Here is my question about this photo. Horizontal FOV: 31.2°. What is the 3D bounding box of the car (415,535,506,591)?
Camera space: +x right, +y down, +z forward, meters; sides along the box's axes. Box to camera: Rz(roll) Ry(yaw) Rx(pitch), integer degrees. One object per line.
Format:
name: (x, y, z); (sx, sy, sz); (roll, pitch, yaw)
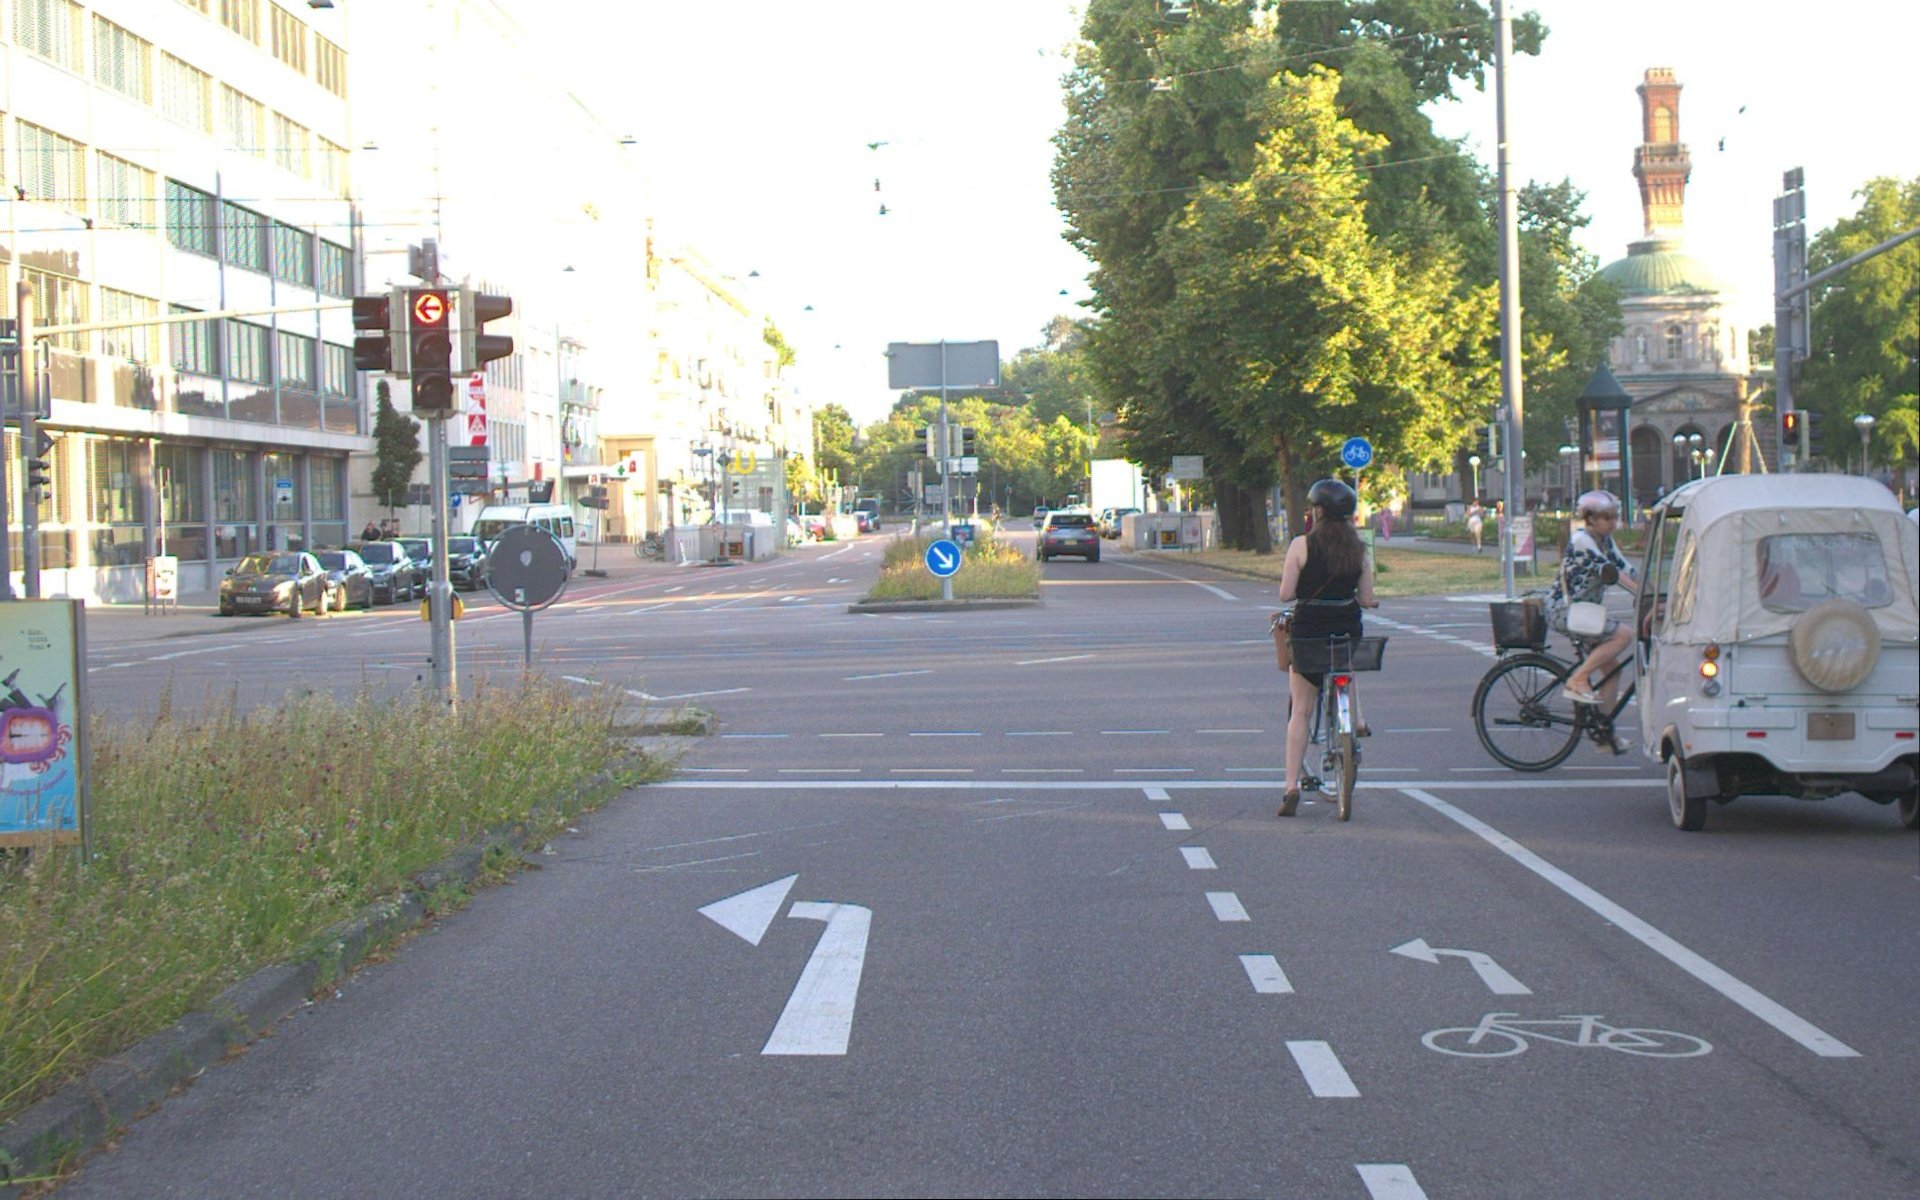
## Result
car: (-14.596, -1.069, 100.578); (1.796, 1.470, 3.999); (-2, -1, 4)

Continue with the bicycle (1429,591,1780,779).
bicycle: (3.938, 0.501, 20.999); (2.017, 1.065, 0.730); (1, 1, 18)

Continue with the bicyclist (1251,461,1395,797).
bicyclist: (1.874, 0.142, 17.797); (0.628, 1.687, 0.748); (-1, 1, 0)

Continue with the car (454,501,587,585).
car: (-13.644, -1.744, 107.145); (2.178, 2.377, 5.986); (-2, -1, 12)

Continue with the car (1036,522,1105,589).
car: (3.461, -1.432, 108.150); (1.993, 2.007, 4.000); (-1, 1, 0)

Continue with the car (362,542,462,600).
car: (-14.988, -0.776, 94.187); (1.796, 1.470, 3.999); (-2, -1, 4)

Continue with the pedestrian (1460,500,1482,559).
pedestrian: (14.645, -2.023, 98.613); (0.508, 1.663, 0.531); (-1, 1, 0)

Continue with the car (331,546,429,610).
car: (-14.769, -0.548, 87.683); (1.796, 1.470, 4.000); (-1, -1, 0)

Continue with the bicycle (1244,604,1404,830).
bicycle: (1.895, 0.582, 18.122); (0.637, 1.065, 2.069); (0, 1, 1)

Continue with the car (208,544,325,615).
car: (-15.611, -0.434, 77.567); (1.796, 1.470, 4.000); (-1, -1, 0)

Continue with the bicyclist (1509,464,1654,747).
bicyclist: (3.804, 0.028, 21.015); (0.747, 1.687, 0.715); (-1, 1, 18)

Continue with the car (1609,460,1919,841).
car: (4.217, 0.191, 17.493); (1.459, 1.774, 2.564); (-1, 2, 3)

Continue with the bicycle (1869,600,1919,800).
bicycle: (5.643, 0.559, 19.105); (0.728, 1.065, 1.903); (1, 1, 2)

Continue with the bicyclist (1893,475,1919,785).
bicyclist: (5.613, 0.154, 18.913); (0.763, 1.687, 0.748); (-1, 1, 5)
